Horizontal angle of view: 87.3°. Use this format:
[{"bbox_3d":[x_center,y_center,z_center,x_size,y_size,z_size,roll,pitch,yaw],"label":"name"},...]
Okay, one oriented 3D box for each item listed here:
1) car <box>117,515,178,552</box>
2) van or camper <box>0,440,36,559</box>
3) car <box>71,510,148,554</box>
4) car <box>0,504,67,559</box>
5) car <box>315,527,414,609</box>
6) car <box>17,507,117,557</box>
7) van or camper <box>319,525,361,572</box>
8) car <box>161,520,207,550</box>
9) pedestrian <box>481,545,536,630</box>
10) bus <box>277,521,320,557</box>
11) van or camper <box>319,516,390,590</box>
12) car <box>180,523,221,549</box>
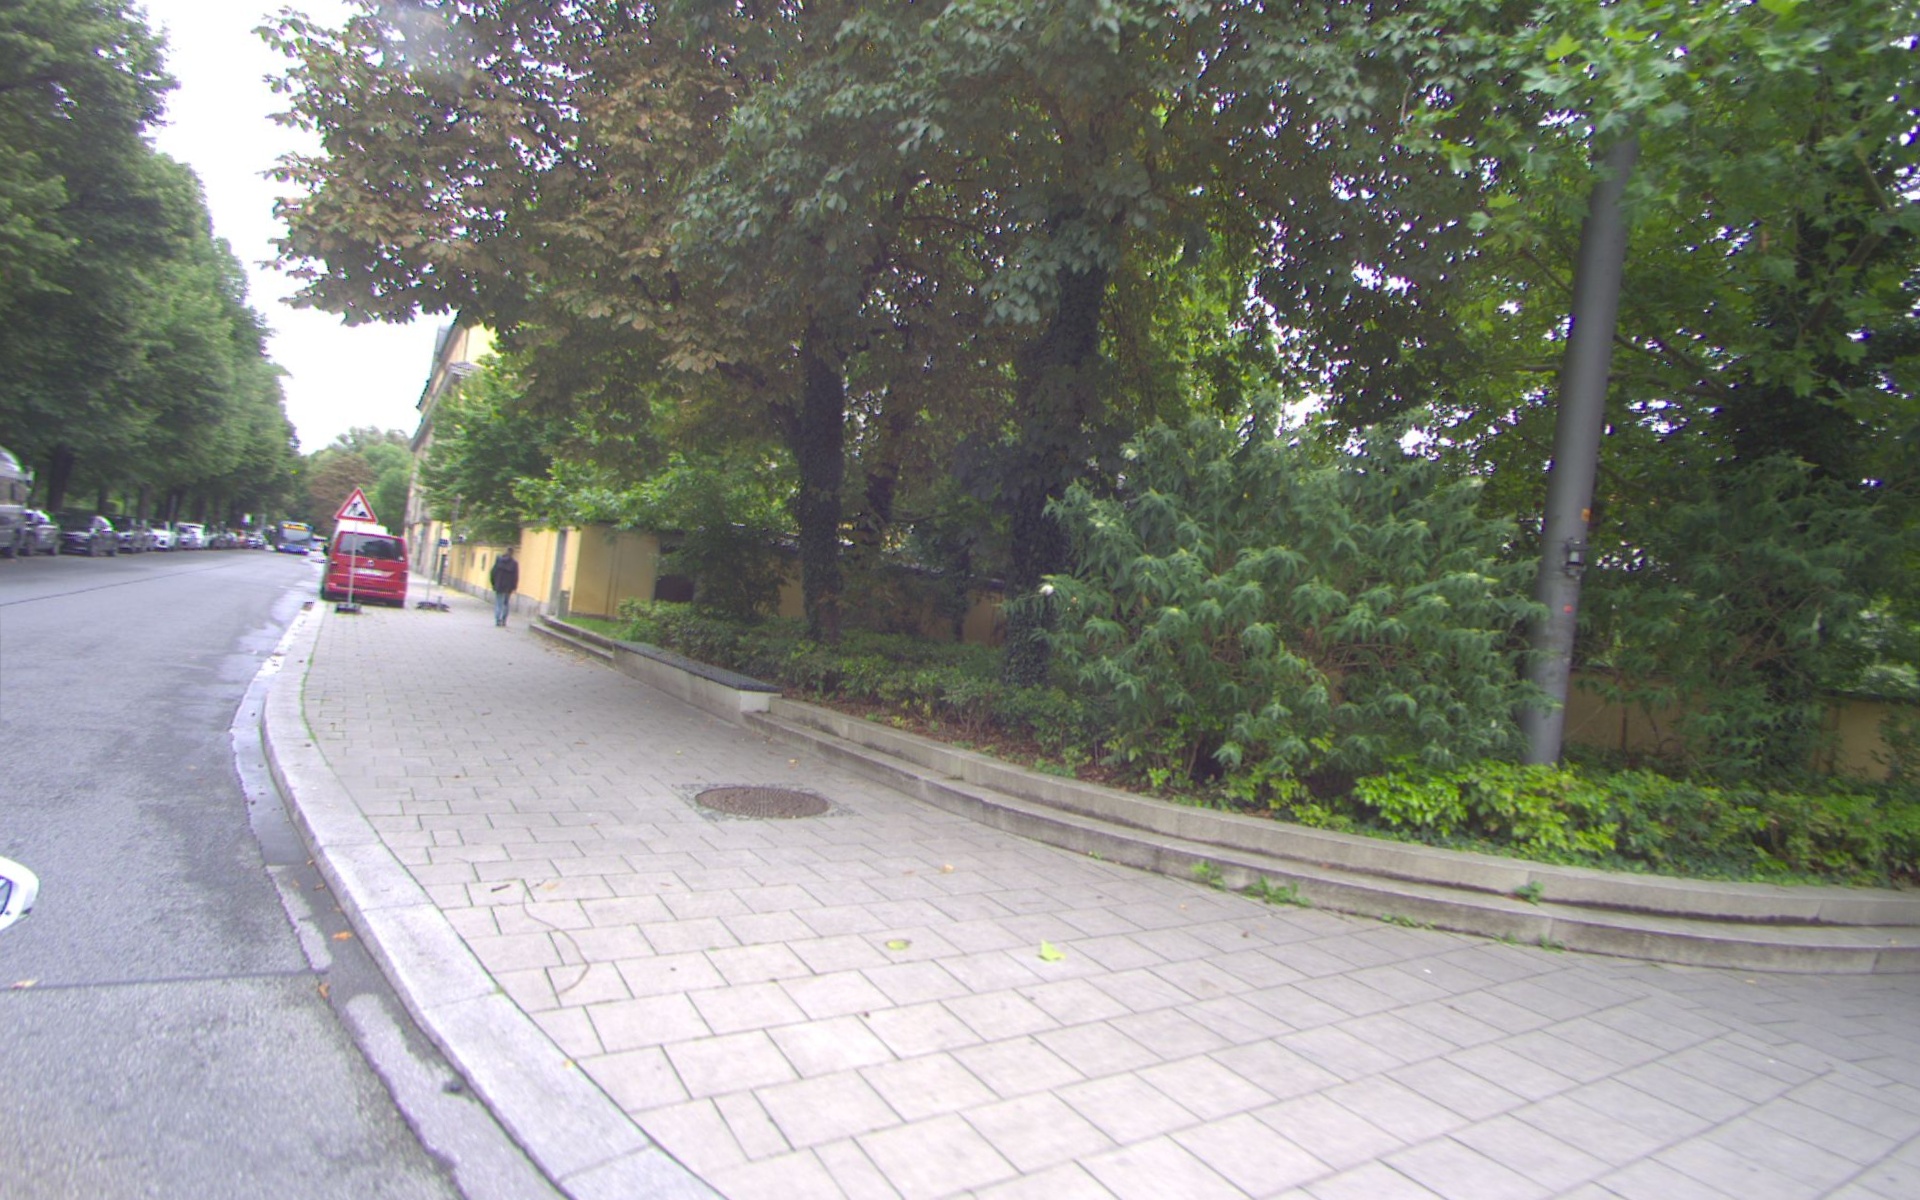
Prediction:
[{"bbox_3d":[-41.407,-3.373,51.352,1.841,1.491,3.966,8,-2,-33],"label":"car"},{"bbox_3d":[-25.134,-2.627,24.978,1.987,2.980,5.959,7,-1,-33],"label":"van or camper"},{"bbox_3d":[-35.533,-2.824,42.112,1.841,1.491,3.965,8,-2,-33],"label":"car"},{"bbox_3d":[-28.384,-2.089,29.998,1.863,1.433,3.966,8,-2,-33],"label":"car"},{"bbox_3d":[-16.443,-0.910,27.659,1.978,1.861,4.672,7,-1,-33],"label":"car"},{"bbox_3d":[-30.895,-2.320,34.922,1.863,1.363,3.966,8,-2,-33],"label":"car"},{"bbox_3d":[-41.639,-3.434,67.562,2.101,2.766,5.199,7,-1,-32],"label":"van or camper"},{"bbox_3d":[-49.775,-4.143,64.603,1.841,1.582,3.966,8,-2,-33],"label":"car"},{"bbox_3d":[-10.631,-0.306,23.673,0.868,1.853,1.043,8,0,-32],"label":"pedestrian"},{"bbox_3d":[-66.890,-6.119,101.916,2.694,2.933,14.437,8,-2,-31],"label":"bus"},{"bbox_3d":[-24.614,-1.893,40.812,2.117,2.576,5.198,7,-1,-33],"label":"van or camper"},{"bbox_3d":[-53.180,-4.441,70.483,1.841,1.491,3.966,8,-2,-33],"label":"car"}]
